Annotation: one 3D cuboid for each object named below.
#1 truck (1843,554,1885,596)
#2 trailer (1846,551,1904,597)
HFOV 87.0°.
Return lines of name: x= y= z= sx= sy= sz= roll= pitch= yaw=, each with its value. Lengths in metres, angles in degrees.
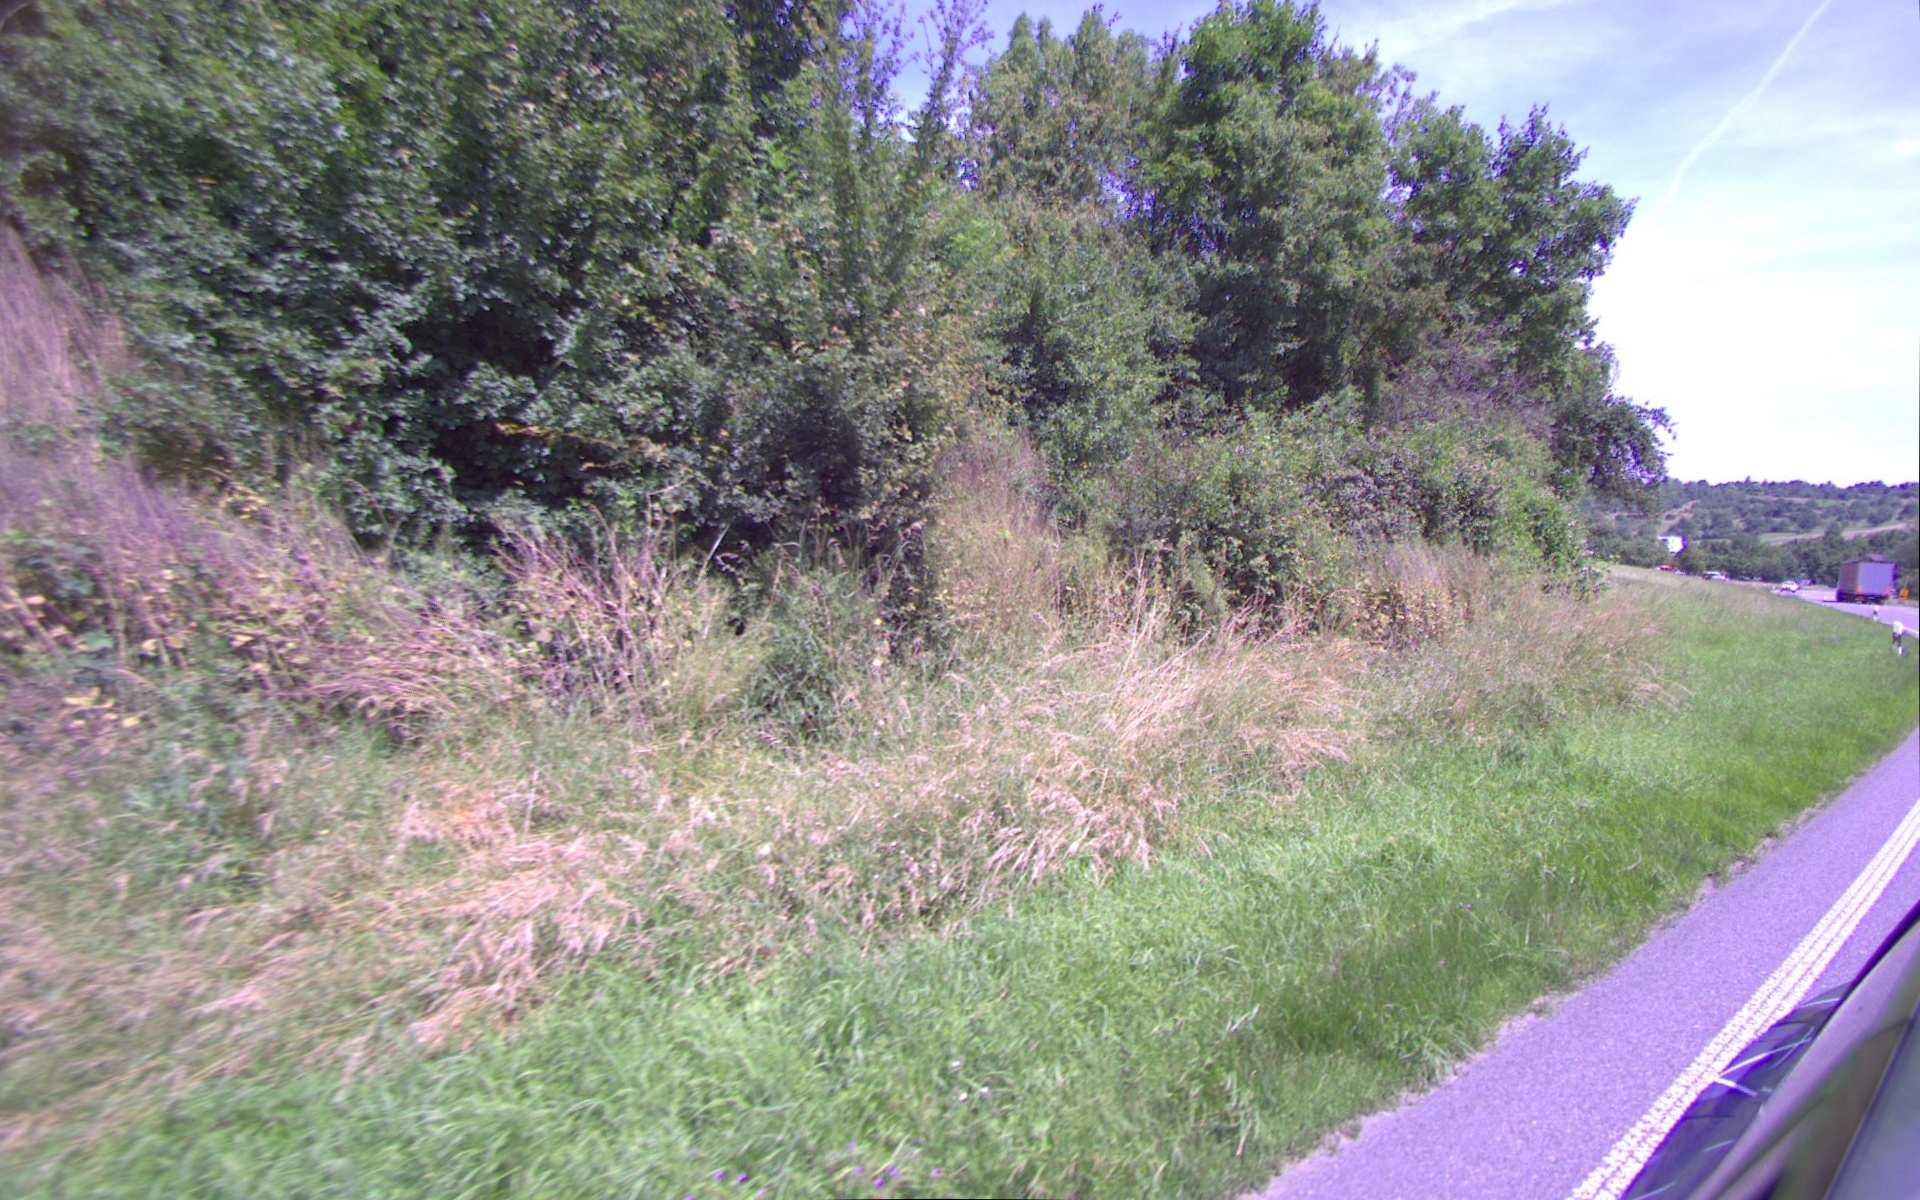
truck: x=92.475 y=-2.565 z=103.575 sx=2.552 sy=4.166 sz=5.724 roll=2 pitch=2 yaw=36
trailer: x=88.361 y=-2.473 z=97.935 sx=2.561 sy=4.159 sz=13.486 roll=2 pitch=2 yaw=36
